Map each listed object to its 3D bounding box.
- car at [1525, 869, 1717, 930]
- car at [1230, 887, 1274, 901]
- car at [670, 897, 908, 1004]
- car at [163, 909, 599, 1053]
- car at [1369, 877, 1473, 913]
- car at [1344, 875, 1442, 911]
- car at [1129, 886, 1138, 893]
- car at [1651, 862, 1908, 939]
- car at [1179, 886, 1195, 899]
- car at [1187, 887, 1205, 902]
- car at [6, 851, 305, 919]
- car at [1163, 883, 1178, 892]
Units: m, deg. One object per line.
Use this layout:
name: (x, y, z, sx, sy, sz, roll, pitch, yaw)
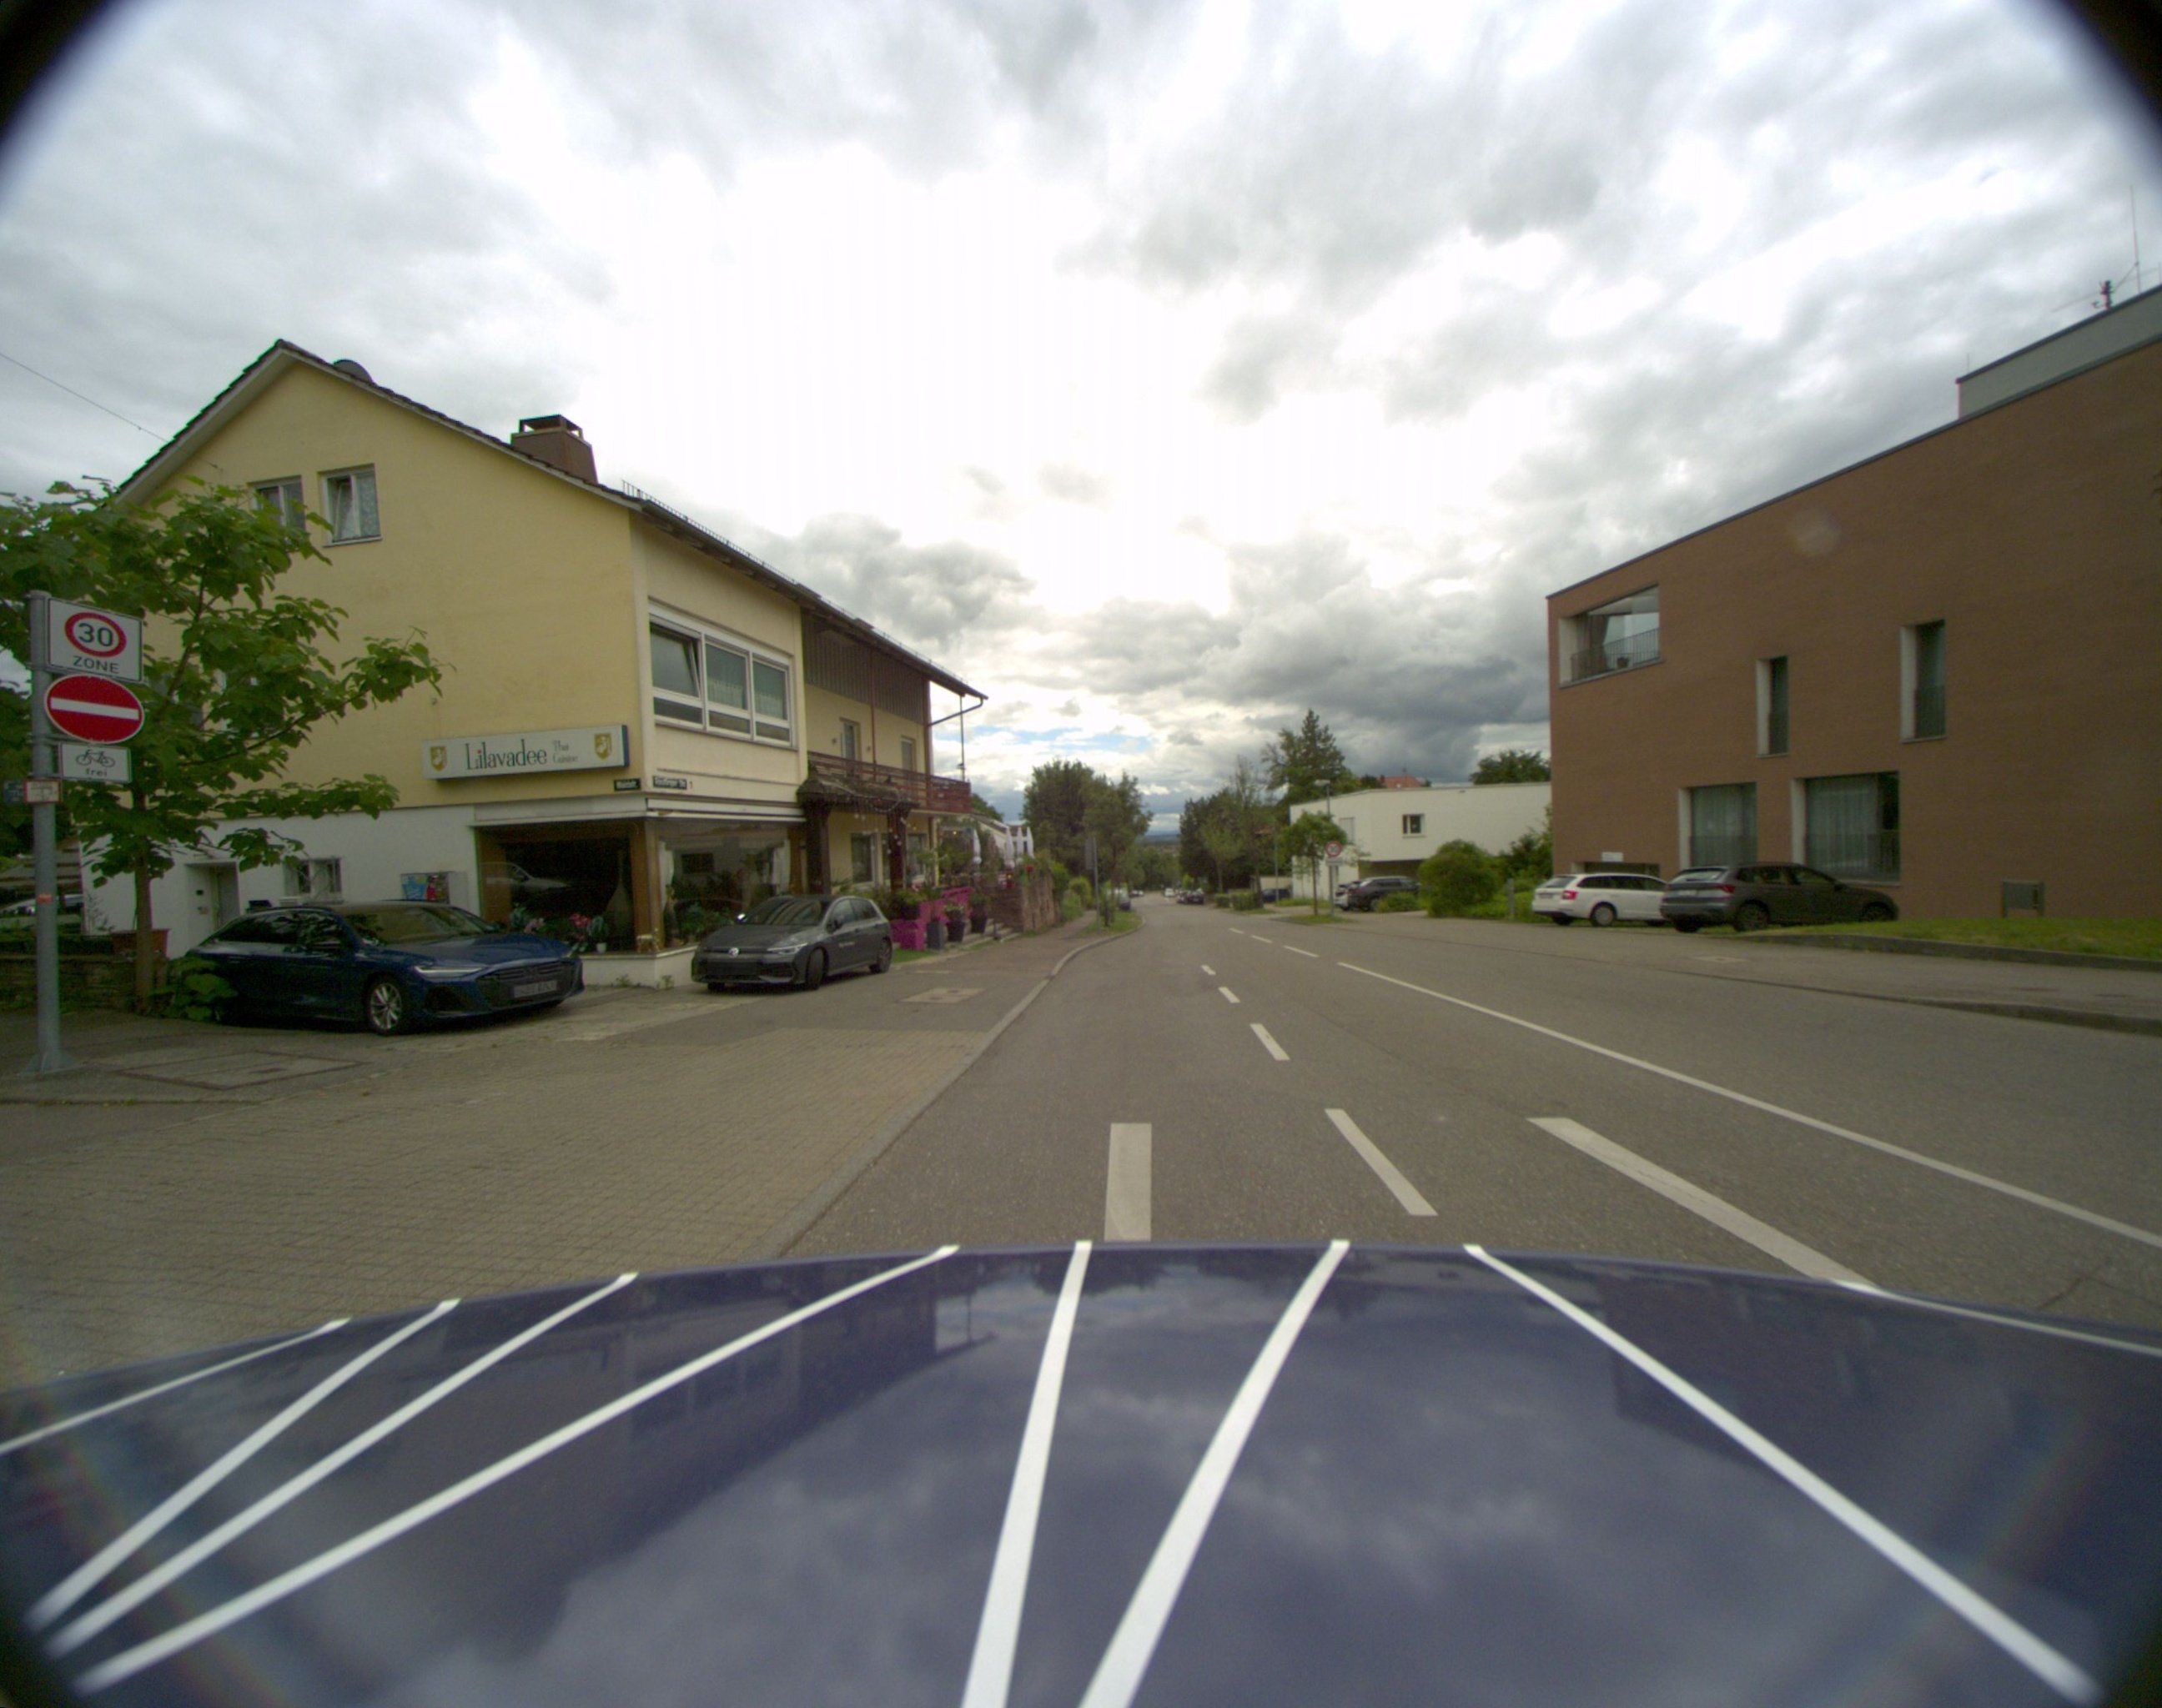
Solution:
car: (14.627, 1.233, 20.711, 3.998, 1.476, 1.727, -1, -3, -3)
car: (16.569, 3.873, 73.728, 3.995, 1.278, 1.665, -2, -3, 7)
car: (-4.533, 1.472, 12.629, 1.796, 1.452, 4.332, -1, -4, 8)
car: (-8.520, 1.411, 9.292, 4.739, 1.378, 1.802, -2, -1, 18)
car: (15.615, 1.888, 35.034, 3.996, 1.476, 1.728, -2, -3, 3)
car: (15.070, 1.886, 36.876, 3.996, 1.585, 1.795, -2, -3, 3)
car: (12.731, 8.556, 183.445, 1.883, 1.412, 4.369, -1, -1, 1)
car: (14.923, 0.989, 16.380, 3.998, 1.476, 1.727, -1, -3, -3)
car: (12.523, 4.541, 89.575, 1.661, 1.412, 4.372, -2, -3, 6)
car: (12.204, 4.287, 80.578, 1.661, 1.412, 4.004, -2, -3, 6)
car: (-22.652, 0.818, 18.873, 1.795, 1.452, 4.336, -2, -4, 22)
car: (16.241, 6.052, 137.972, 1.884, 1.412, 4.368, -1, -1, -2)
